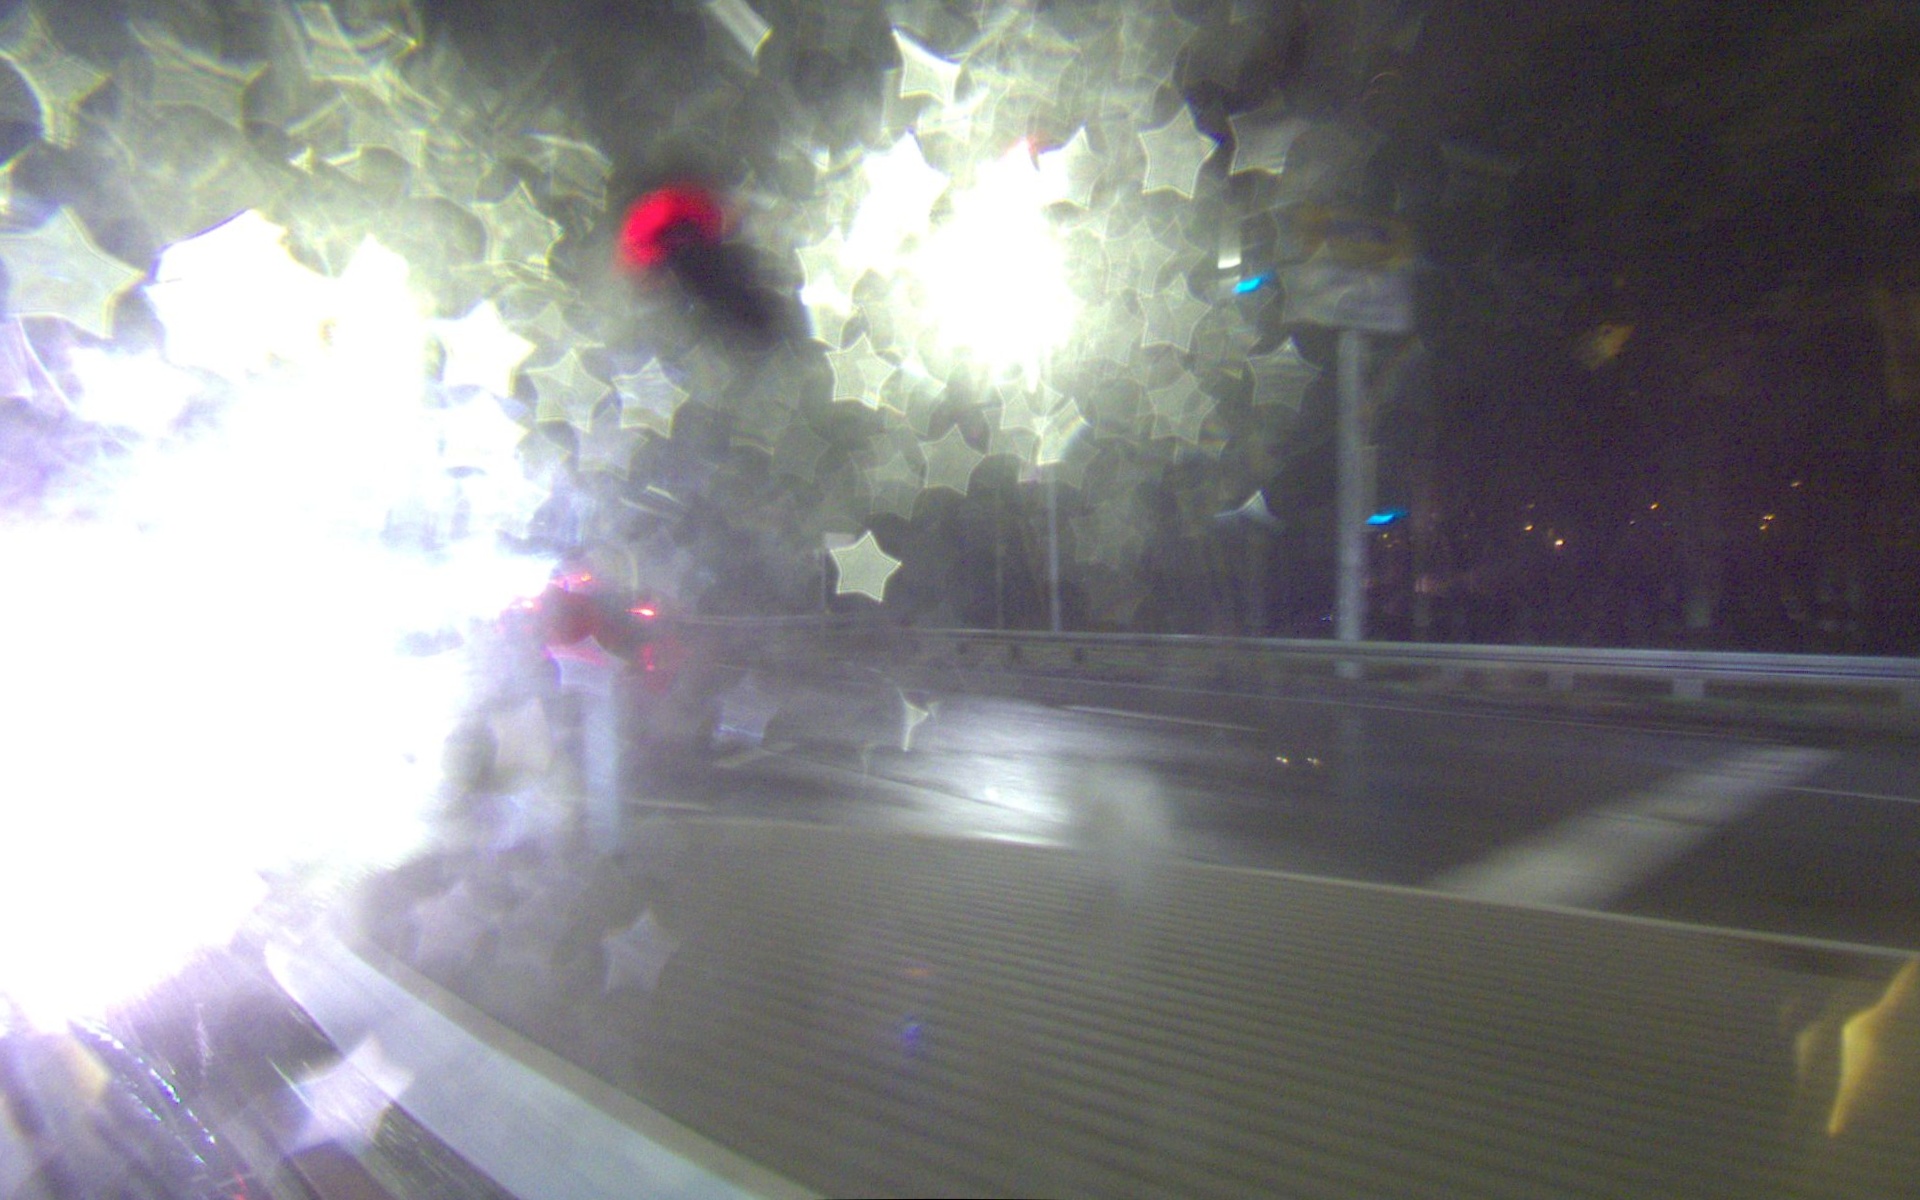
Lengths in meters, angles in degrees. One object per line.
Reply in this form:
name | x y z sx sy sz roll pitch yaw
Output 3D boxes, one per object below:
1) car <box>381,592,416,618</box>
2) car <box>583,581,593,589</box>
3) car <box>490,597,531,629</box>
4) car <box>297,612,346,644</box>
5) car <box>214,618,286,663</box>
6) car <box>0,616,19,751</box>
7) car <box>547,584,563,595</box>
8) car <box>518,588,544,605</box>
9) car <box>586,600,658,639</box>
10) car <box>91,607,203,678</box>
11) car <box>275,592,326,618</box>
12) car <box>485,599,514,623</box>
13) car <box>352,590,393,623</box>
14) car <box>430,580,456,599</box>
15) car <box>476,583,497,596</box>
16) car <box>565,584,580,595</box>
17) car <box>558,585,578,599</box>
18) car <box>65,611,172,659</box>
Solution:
car | -43.487 0.352 78.426 1.935 1.807 4.014 -2 3 -23
car | -70.936 -2.800 192.986 1.687 1.434 4.682 1 1 -19
car | -23.270 0.651 52.361 1.755 1.471 4.492 -2 2 -26
car | -34.707 1.481 55.090 1.579 1.435 3.401 -4 4 -22
car | -28.307 1.562 40.444 1.579 1.435 3.401 -4 4 -22
car | -11.804 0.924 11.506 1.475 1.435 3.394 -2 0 -41
car | -64.248 -1.680 160.615 1.823 1.583 3.516 -2 0 -13
car | -38.320 -0.253 90.496 1.764 1.468 4.591 1 0 -18
car | -12.543 0.713 37.390 1.781 1.363 4.156 -1 -1 -29
car | -20.437 1.009 25.577 1.580 1.435 3.400 -5 4 -29
car | -44.277 0.308 68.004 1.965 1.610 4.407 -1 2 -21
car | -29.416 0.680 64.597 1.543 1.444 3.506 -2 0 -26
car | -39.141 0.399 67.488 1.965 2.028 4.014 -3 3 -26
car | -59.083 -1.200 115.752 1.842 2.028 3.916 -2 2 -16
car | -63.732 -1.436 136.288 1.966 1.691 4.013 -2 3 -18
car | -57.520 -1.601 150.288 1.750 1.605 4.575 0 1 -18
car | -46.080 -0.961 118.901 1.711 1.507 3.952 1 1 -15
car | -31.165 1.241 37.646 1.714 1.428 4.154 -2 3 -20
